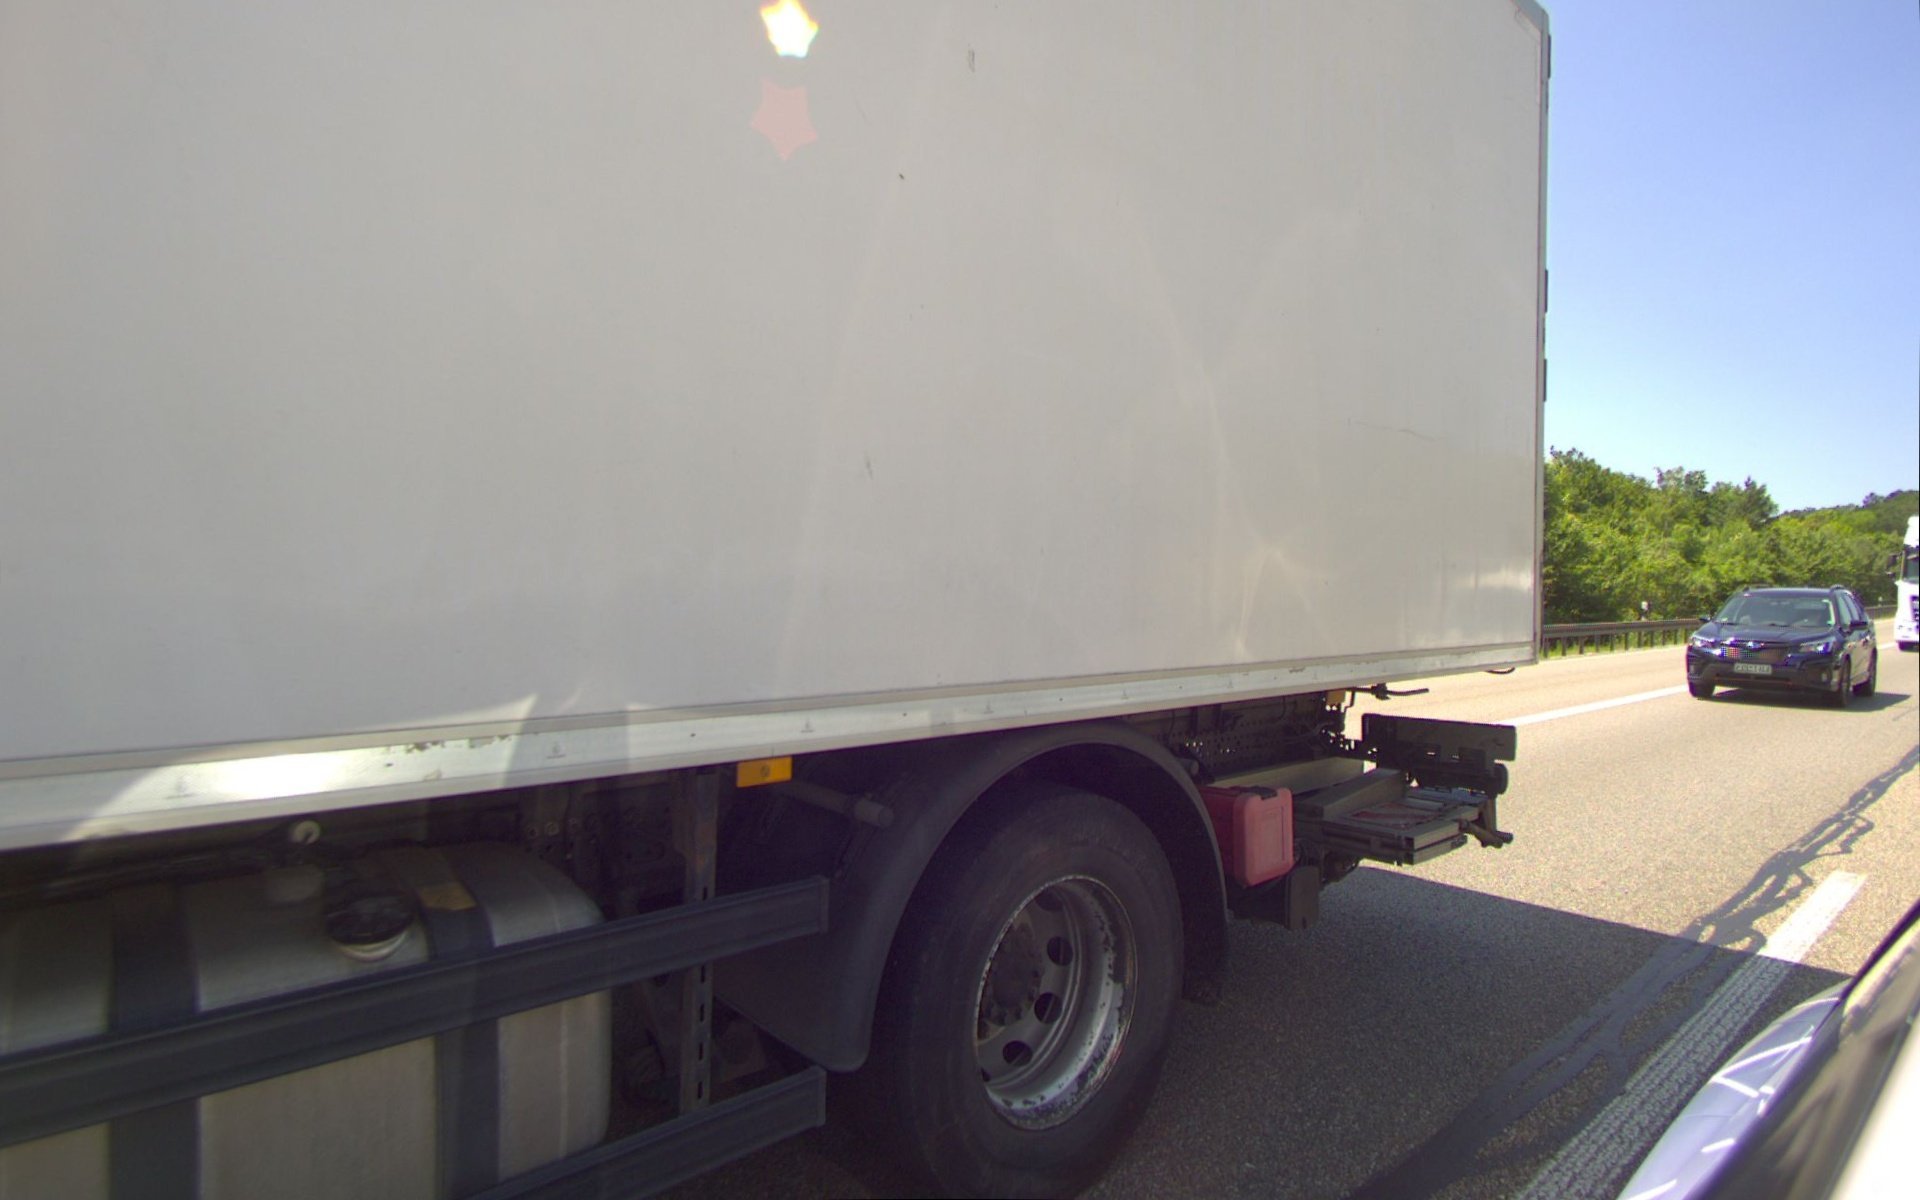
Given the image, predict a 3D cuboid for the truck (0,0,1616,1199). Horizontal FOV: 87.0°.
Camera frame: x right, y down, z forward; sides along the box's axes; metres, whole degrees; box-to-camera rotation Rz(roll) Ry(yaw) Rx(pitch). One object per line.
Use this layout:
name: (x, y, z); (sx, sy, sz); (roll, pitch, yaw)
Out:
truck: (-1.889, -0.612, 2.052); (9.610, 3.922, 2.694); (0, 4, -41)

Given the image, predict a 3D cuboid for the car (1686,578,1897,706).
car: (12.777, 0.536, 15.467); (4.129, 1.688, 1.815); (0, 1, -41)

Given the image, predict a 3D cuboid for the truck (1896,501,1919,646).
truck: (34.505, -0.778, 33.916); (15.982, 4.221, 2.788); (0, 1, -41)
